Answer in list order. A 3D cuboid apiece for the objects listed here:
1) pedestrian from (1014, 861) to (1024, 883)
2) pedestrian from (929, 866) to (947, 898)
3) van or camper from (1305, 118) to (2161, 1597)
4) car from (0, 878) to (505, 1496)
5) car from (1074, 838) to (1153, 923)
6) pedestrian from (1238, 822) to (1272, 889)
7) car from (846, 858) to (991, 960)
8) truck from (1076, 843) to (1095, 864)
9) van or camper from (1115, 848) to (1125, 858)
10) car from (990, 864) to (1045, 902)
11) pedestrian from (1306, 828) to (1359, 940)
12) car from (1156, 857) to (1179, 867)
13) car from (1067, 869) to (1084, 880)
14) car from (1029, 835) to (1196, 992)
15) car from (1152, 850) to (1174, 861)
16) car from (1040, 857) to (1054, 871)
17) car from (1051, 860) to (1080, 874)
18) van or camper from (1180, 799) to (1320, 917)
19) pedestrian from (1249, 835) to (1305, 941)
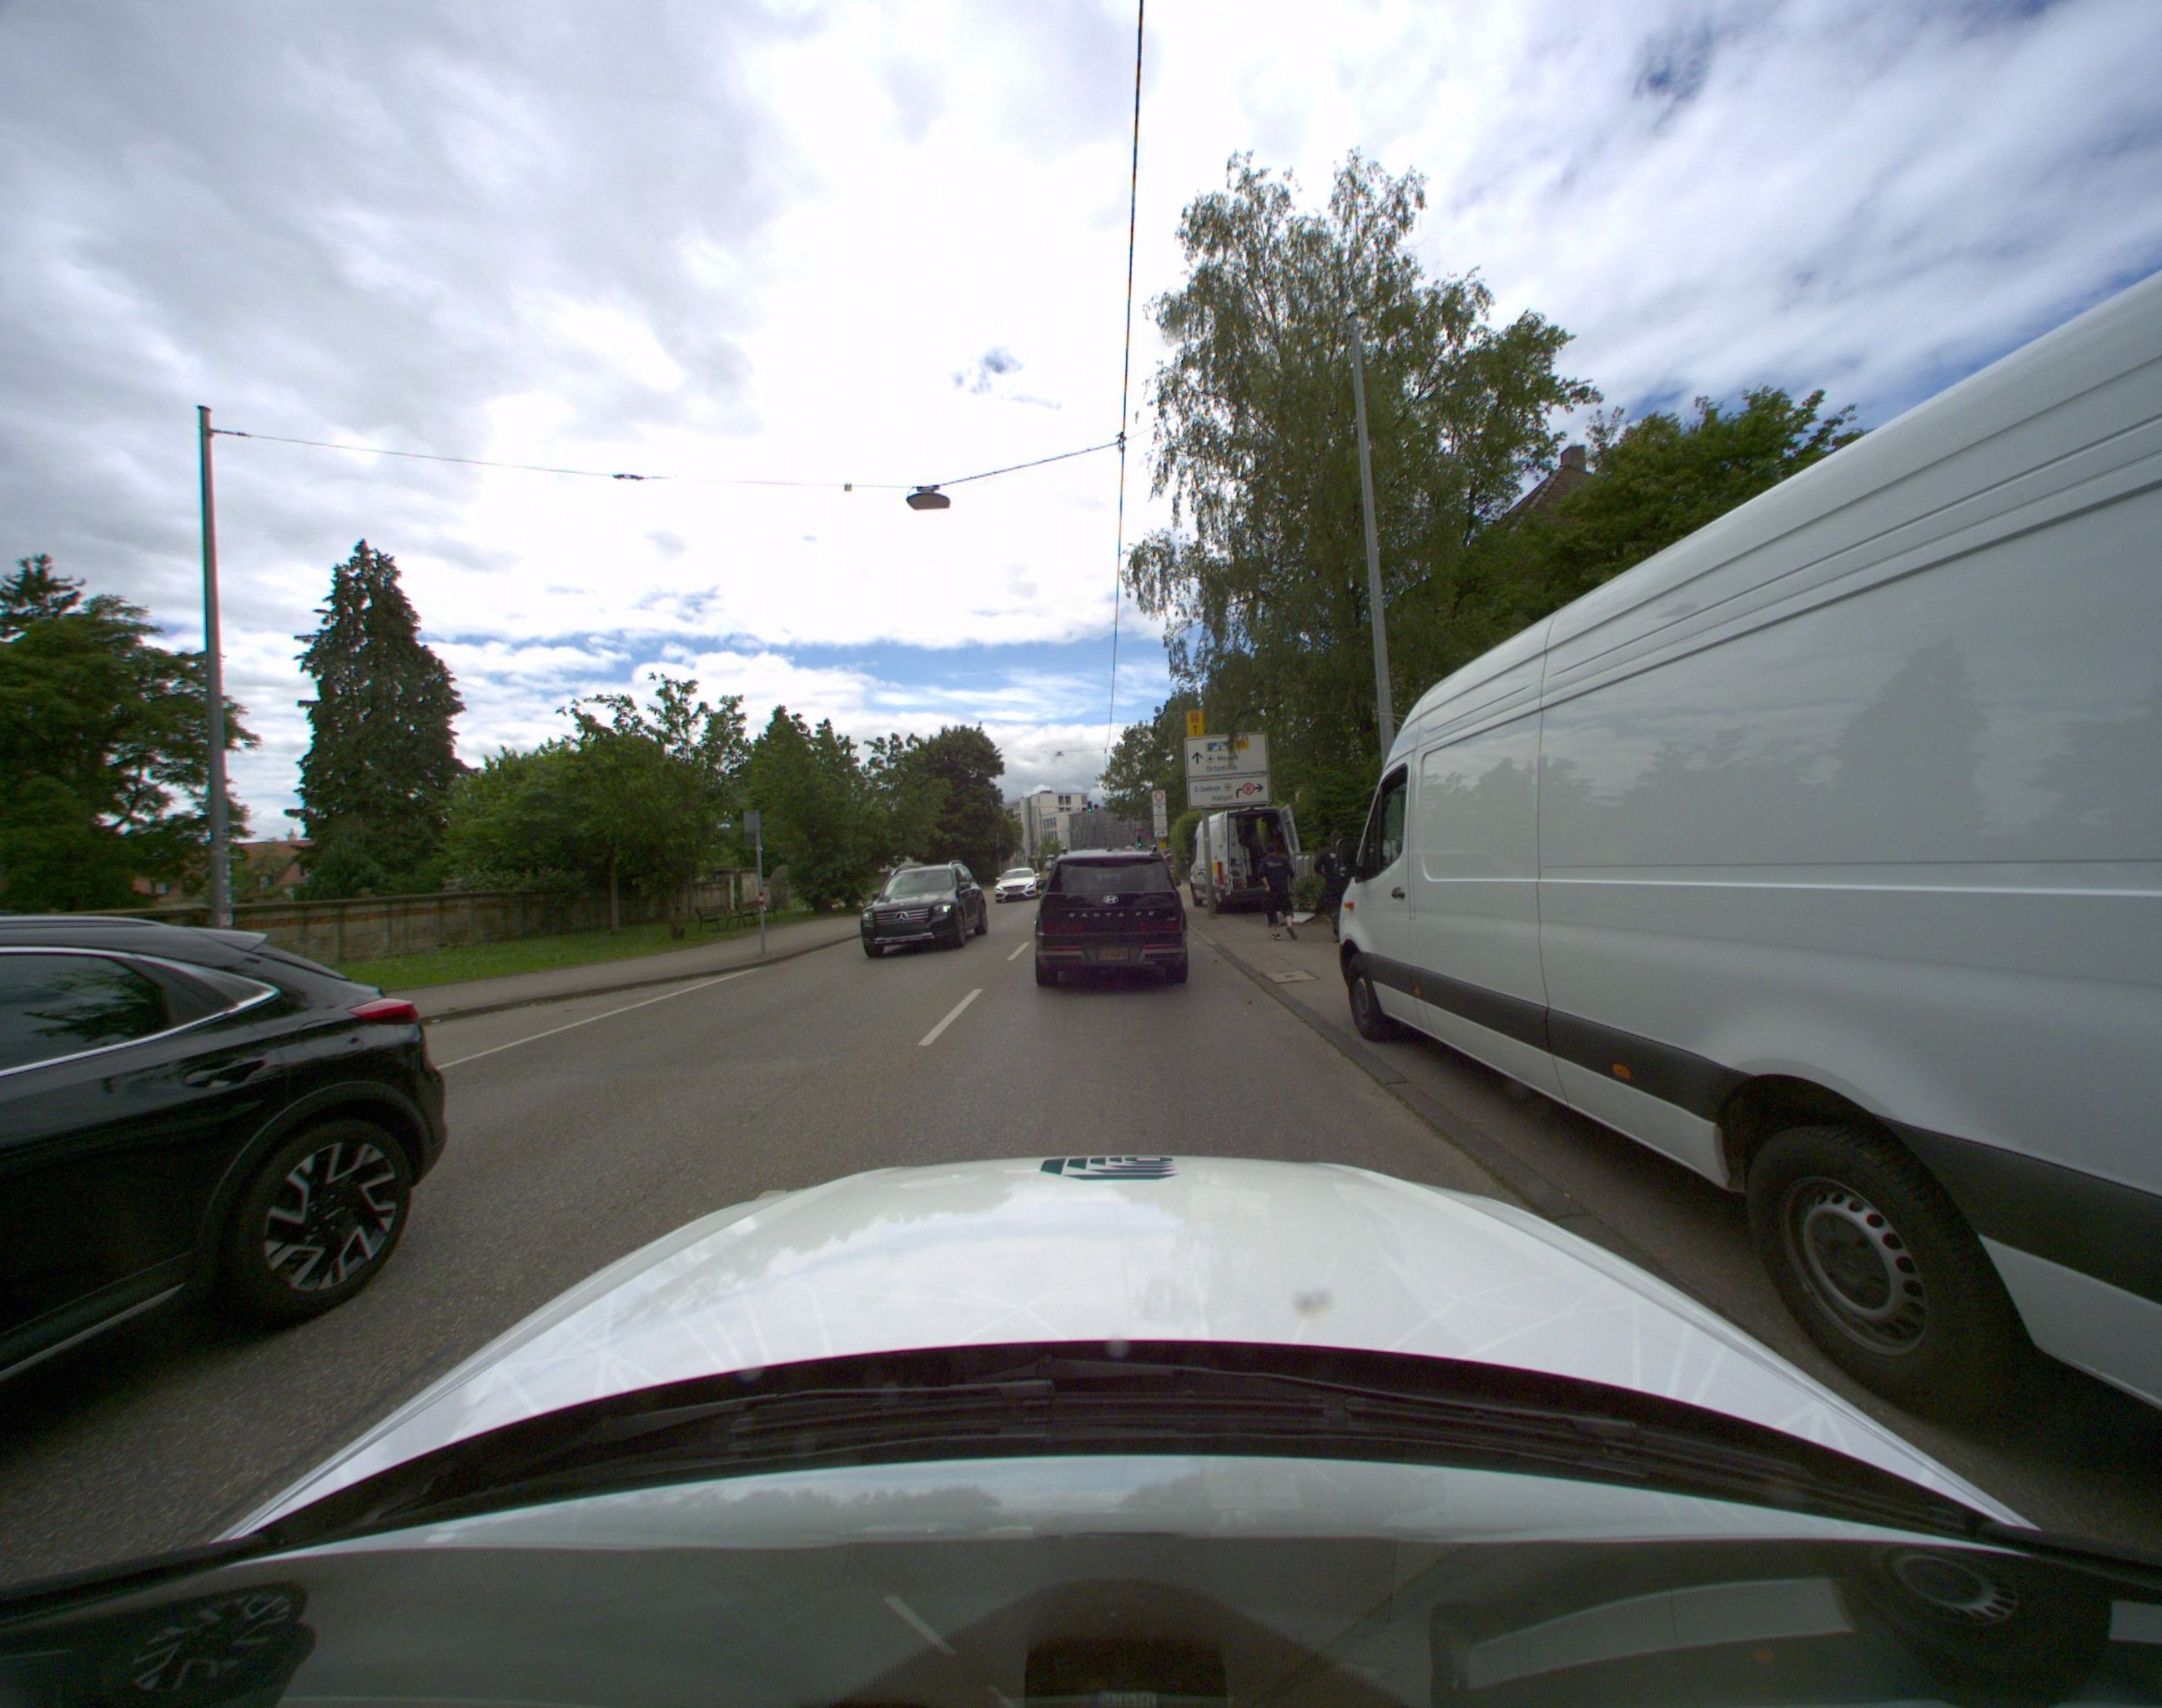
[{"bbox_3d":[-5.904,1.687,77.234,0.826,2.014,1.048,0,-1,4],"label":"pedestrian"},{"bbox_3d":[-7.919,1.550,45.267,0.764,1.748,0.905,-1,-1,2],"label":"pedestrian"},{"bbox_3d":[2.988,0.033,3.939,1.983,2.625,6.547,-6,-1,2],"label":"van or camper"},{"bbox_3d":[-3.548,0.892,1.674,1.694,1.483,4.001,-5,-1,2],"label":"car"},{"bbox_3d":[0.854,0.654,21.569,1.890,2.042,3.995,0,-1,2],"label":"car"},{"bbox_3d":[4.473,0.036,20.995,0.732,1.644,0.803,-4,-2,11],"label":"pedestrian"},{"bbox_3d":[-3.099,1.002,16.461,1.873,1.644,4.129,-5,-1,1],"label":"car"},{"bbox_3d":[0.851,0.044,162.063,3.101,3.859,9.607,-3,-1,-4],"label":"truck"},{"bbox_3d":[8.144,-0.111,169.449,1.791,1.999,3.821,0,-1,-2],"label":"van or camper"},{"bbox_3d":[-2.755,1.233,36.485,1.808,1.419,4.830,-6,-1,2],"label":"car"},{"bbox_3d":[4.082,0.487,13.279,0.644,1.751,0.656,-3,-2,8],"label":"pedestrian"},{"bbox_3d":[15.206,1.368,143.039,3.968,1.584,1.892,-3,-1,4],"label":"car"},{"bbox_3d":[-0.752,2.674,106.940,1.880,1.420,3.994,-3,-1,-4],"label":"car"},{"bbox_3d":[0.430,0.697,11.239,1.890,1.776,3.995,0,-1,2],"label":"car"},{"bbox_3d":[13.855,0.236,137.740,3.624,1.584,1.754,-3,-1,4],"label":"car"},{"bbox_3d":[-5.946,1.723,141.383,2.328,2.315,4.950,-3,-1,-4],"label":"car"},{"bbox_3d":[-1.788,1.501,94.465,1.822,1.538,4.289,-3,-1,20],"label":"car"},{"bbox_3d":[4.317,0.173,22.182,2.332,2.494,6.604,-6,-2,1],"label":"van or camper"},{"bbox_3d":[3.355,0.579,13.994,0.746,1.721,0.793,-4,-2,8],"label":"pedestrian"}]
